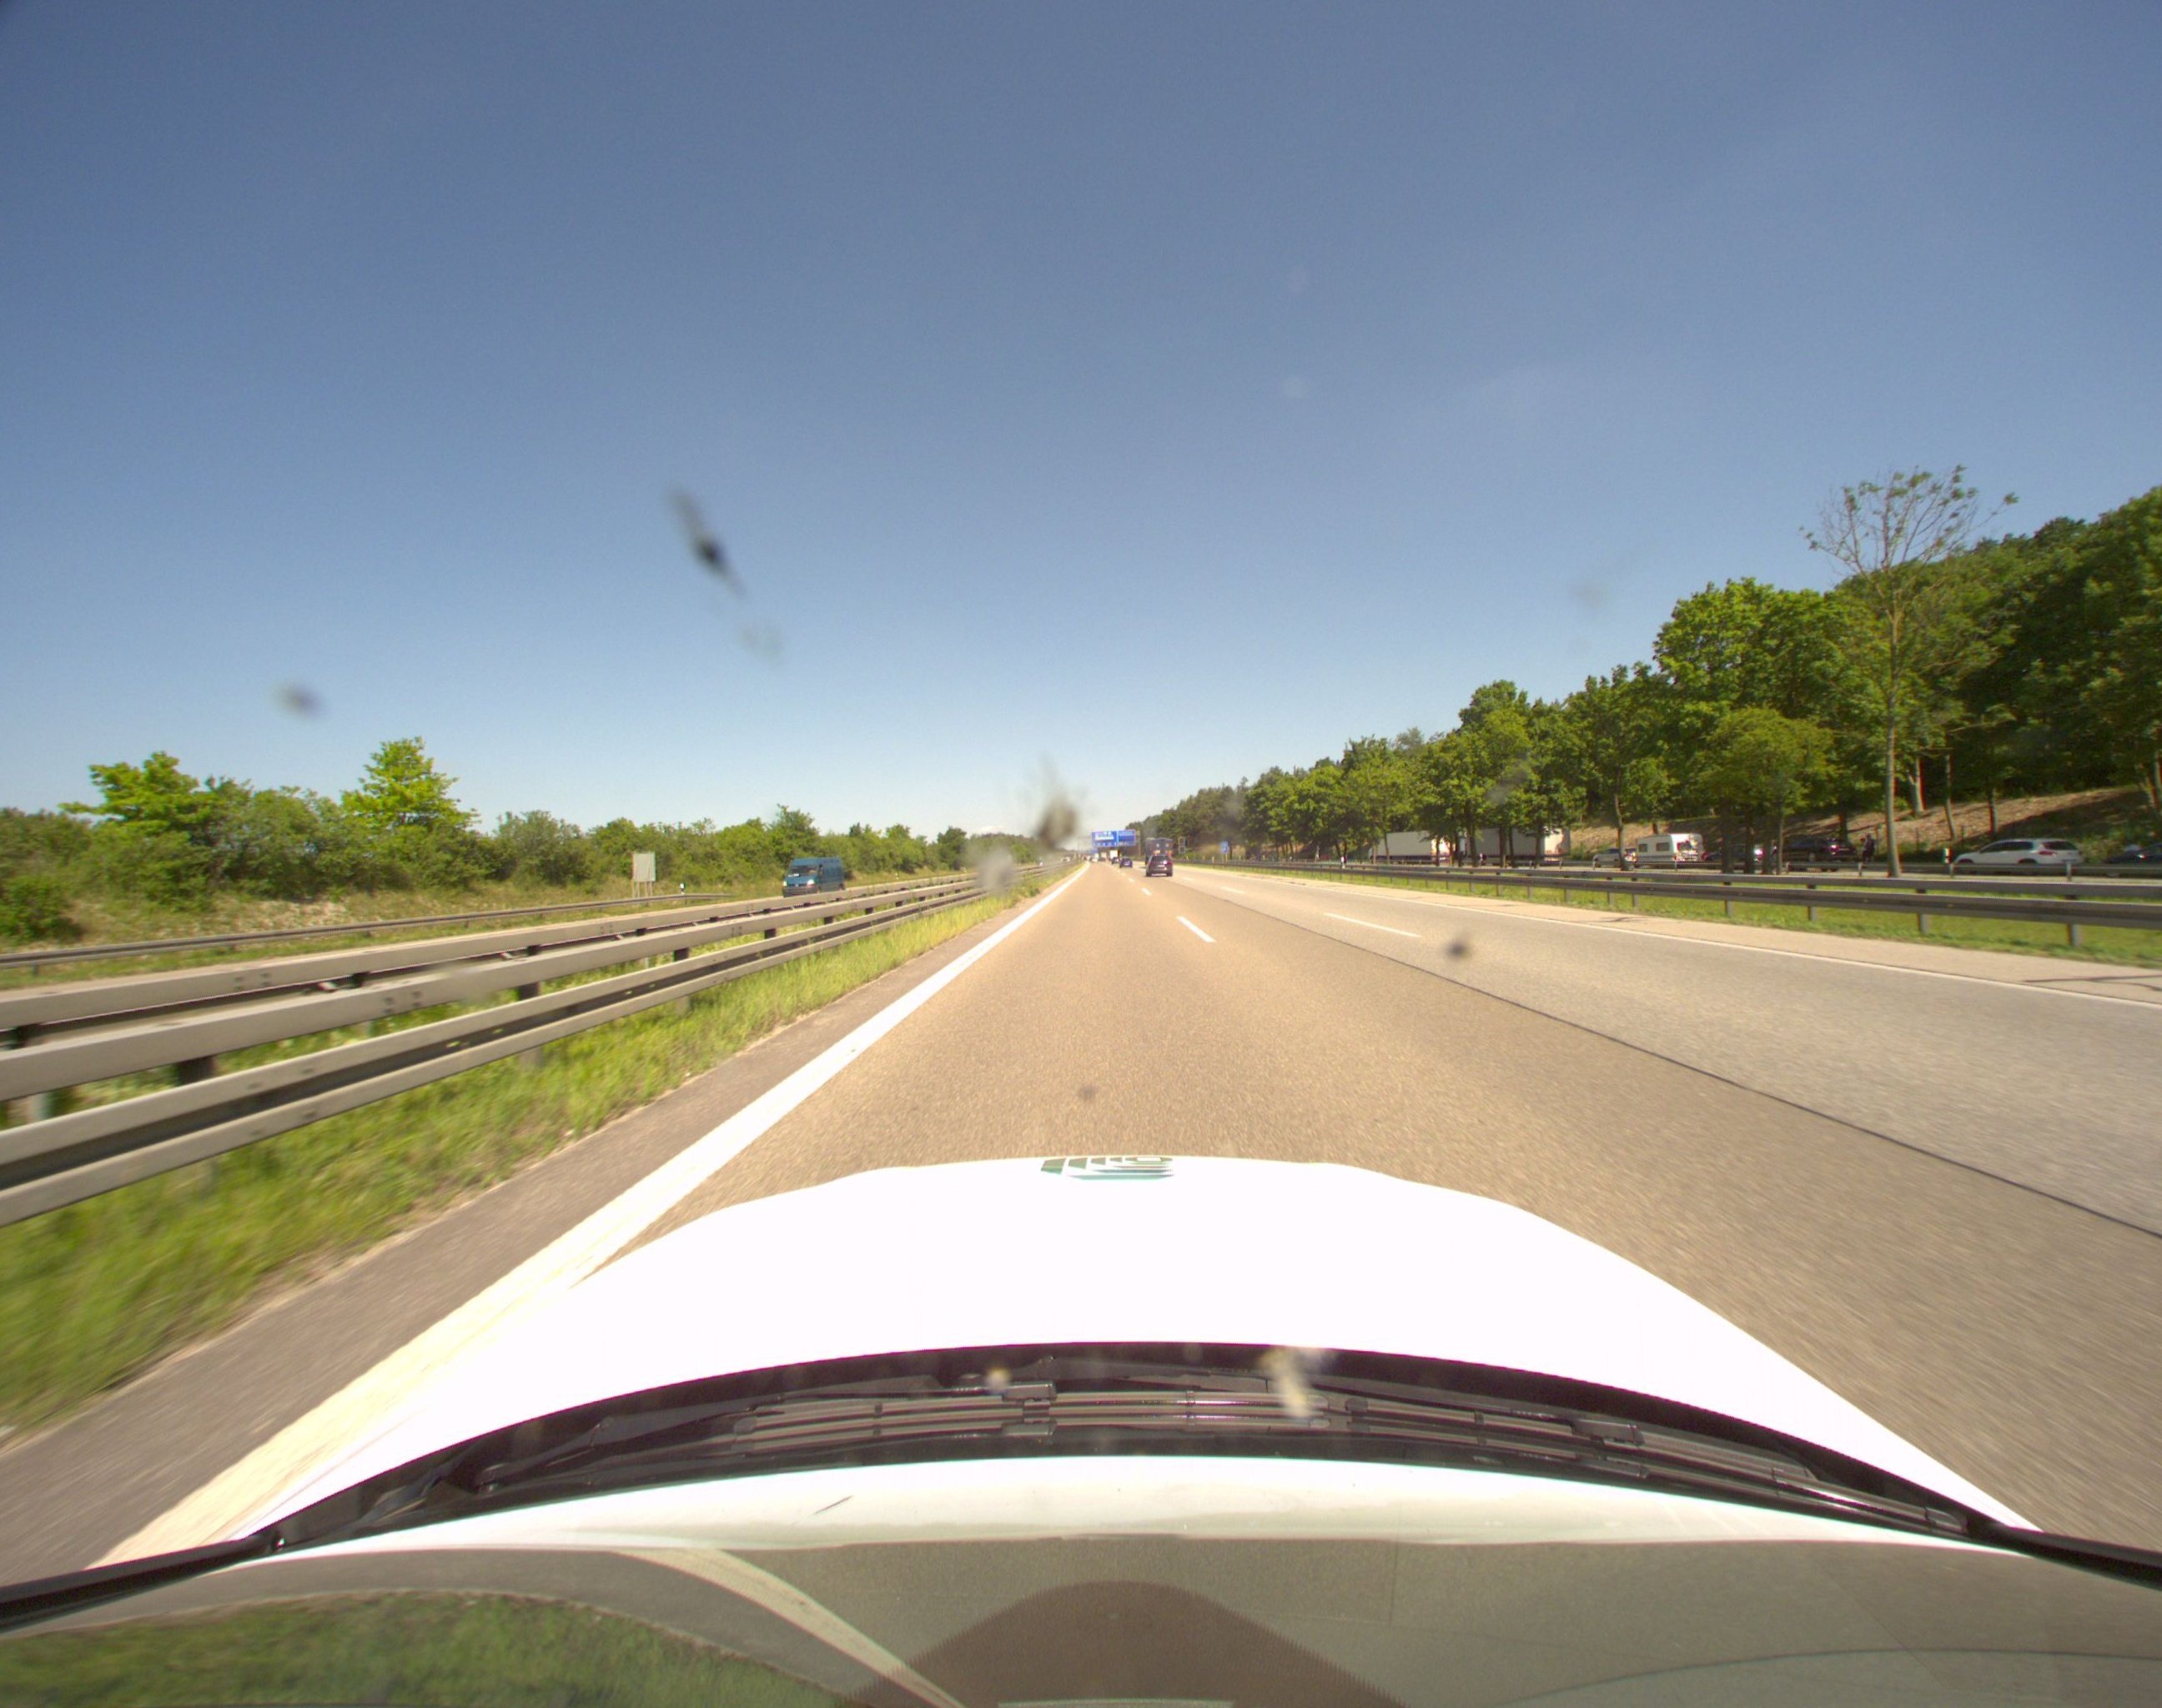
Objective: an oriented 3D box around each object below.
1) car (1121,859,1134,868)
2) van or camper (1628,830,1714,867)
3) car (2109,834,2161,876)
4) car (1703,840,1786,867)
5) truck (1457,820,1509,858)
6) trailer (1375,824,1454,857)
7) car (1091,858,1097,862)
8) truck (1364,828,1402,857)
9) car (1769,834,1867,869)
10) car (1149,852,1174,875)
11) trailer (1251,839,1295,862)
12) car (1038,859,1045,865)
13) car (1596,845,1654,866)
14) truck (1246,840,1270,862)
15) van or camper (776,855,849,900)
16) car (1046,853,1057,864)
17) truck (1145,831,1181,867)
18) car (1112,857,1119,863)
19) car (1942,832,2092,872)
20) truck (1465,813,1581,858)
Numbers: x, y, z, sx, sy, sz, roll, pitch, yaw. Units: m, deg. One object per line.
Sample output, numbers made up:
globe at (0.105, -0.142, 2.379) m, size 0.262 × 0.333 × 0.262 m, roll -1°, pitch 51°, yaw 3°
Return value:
car at (6.514, 1.289, 114.072) m, size 1.702 × 1.155 × 3.691 m, roll -2°, pitch 0°, yaw 2°
van or camper at (43.272, -0.349, 59.950) m, size 2.195 × 2.530 × 5.878 m, roll -2°, pitch 0°, yaw 2°
car at (42.345, 0.013, 30.895) m, size 1.981 × 1.574 × 4.011 m, roll -2°, pitch 0°, yaw 10°
car at (43.083, -0.026, 52.984) m, size 1.651 × 1.642 × 4.494 m, roll -2°, pitch 0°, yaw -1°
truck at (43.030, -1.566, 87.263) m, size 2.964 × 3.931 × 4.828 m, roll -2°, pitch 0°, yaw -3°
trailer at (41.385, -1.549, 101.964) m, size 2.854 × 3.796 × 14.162 m, roll -1°, pitch 0°, yaw -5°
car at (3.701, 1.686, 231.285) m, size 1.465 × 1.227 × 3.412 m, roll -2°, pitch 0°, yaw 2°
truck at (40.644, -1.531, 109.893) m, size 2.805 × 3.796 × 5.135 m, roll -1°, pitch 0°, yaw -6°
car at (42.555, -0.143, 47.162) m, size 1.647 × 1.877 × 4.808 m, roll -2°, pitch 0°, yaw 6°
car at (6.070, 0.659, 61.401) m, size 1.791 × 1.669 × 4.264 m, roll -1°, pitch 0°, yaw 5°
trailer at (34.414, -0.552, 146.664) m, size 2.573 × 3.915 × 12.697 m, roll -1°, pitch 0°, yaw -11°
car at (-9.363, 1.892, 192.819) m, size 1.507 × 1.486 × 3.374 m, roll -2°, pitch 0°, yaw 2°
car at (43.611, 0.108, 65.454) m, size 1.650 × 1.597 × 4.556 m, roll -2°, pitch 0°, yaw 1°
truck at (33.183, -0.539, 152.673) m, size 2.573 × 3.915 × 4.846 m, roll -1°, pitch 0°, yaw -12°
van or camper at (-15.732, 1.314, 48.131) m, size 1.986 × 2.392 × 6.243 m, roll -3°, pitch 0°, yaw 2°
car at (-6.440, 0.994, 180.040) m, size 1.986 × 2.109 × 4.303 m, roll -3°, pitch 0°, yaw 2°
truck at (10.704, -0.575, 108.384) m, size 3.766 × 4.422 × 14.057 m, roll -1°, pitch 0°, yaw 2°
car at (7.319, 1.251, 173.151) m, size 1.465 × 1.398 × 3.412 m, roll 1°, pitch 0°, yaw 2°
car at (42.821, -0.056, 37.443) m, size 1.649 × 1.675 × 4.655 m, roll -2°, pitch 0°, yaw 3°
truck at (43.351, -1.611, 80.800) m, size 2.989 × 3.931 × 14.444 m, roll -2°, pitch 0°, yaw -3°
